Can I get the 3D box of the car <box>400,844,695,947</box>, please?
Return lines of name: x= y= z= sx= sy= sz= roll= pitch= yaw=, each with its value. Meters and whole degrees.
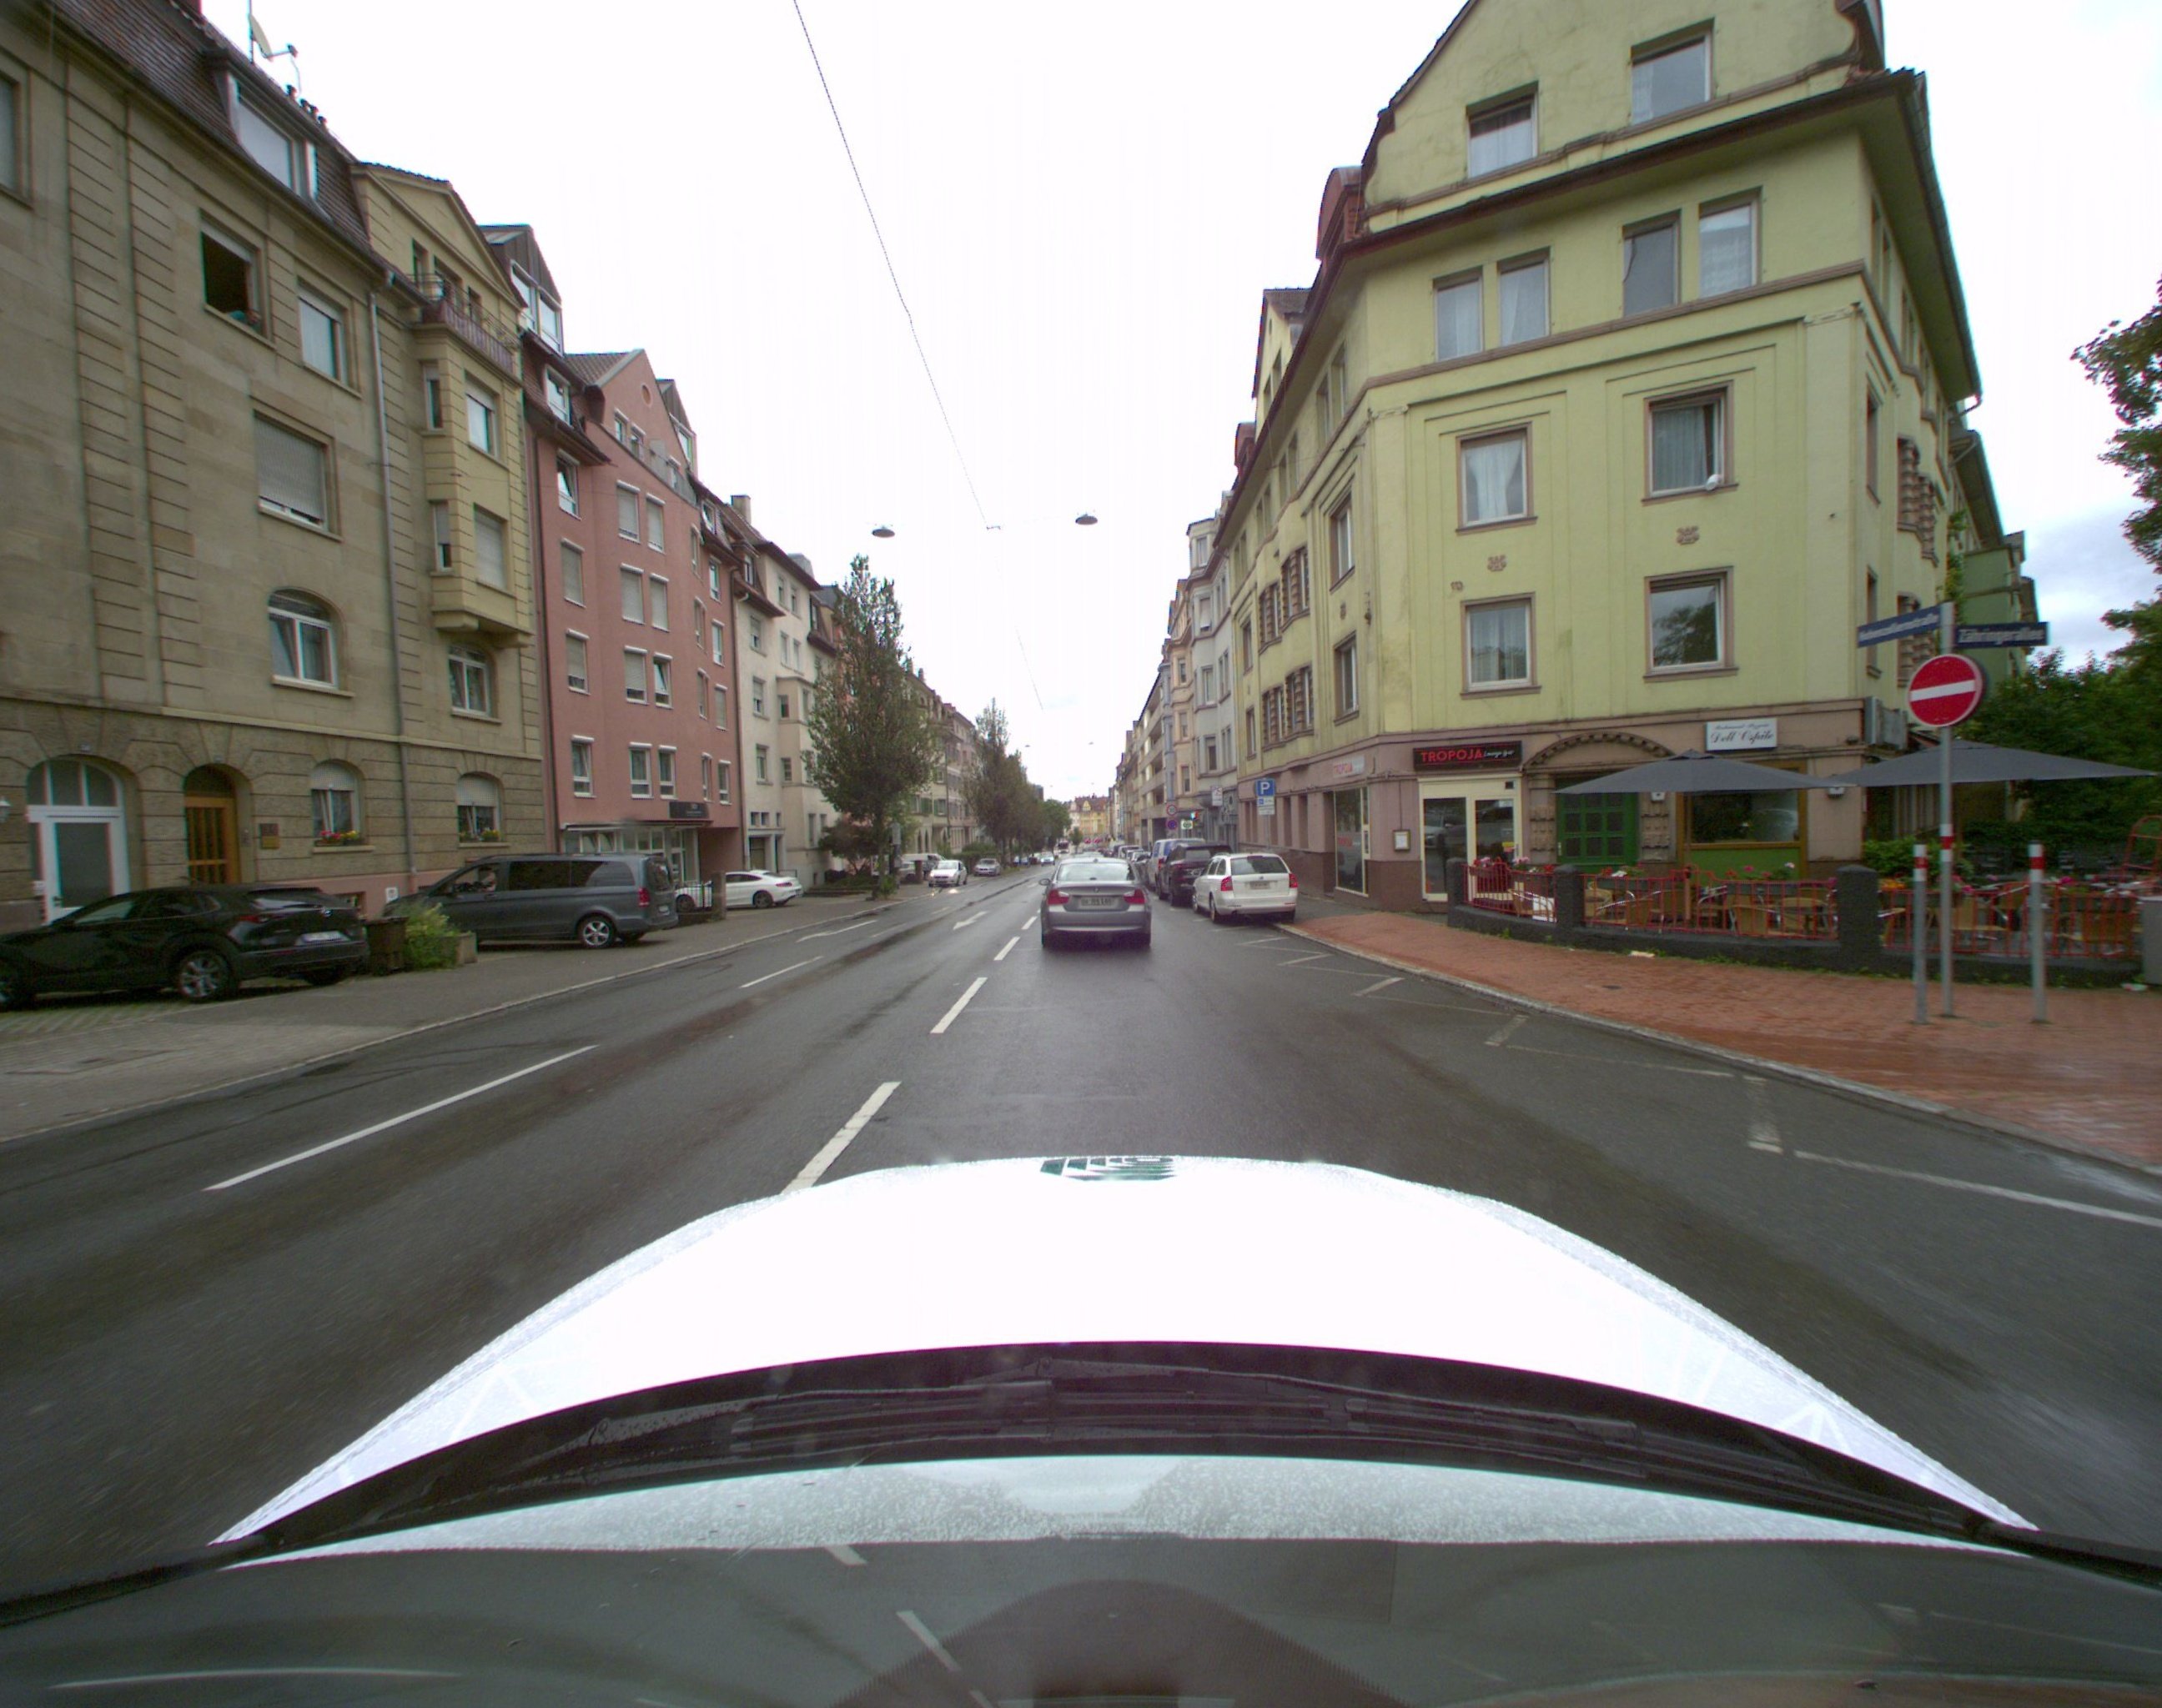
car: x=-10.718 y=0.781 z=16.711 sx=4.673 sy=1.938 sz=1.857 roll=0 pitch=0 yaw=-10

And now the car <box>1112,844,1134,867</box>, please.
car: x=4.246 y=0.122 z=82.829 sx=1.975 sy=2.166 sz=4.750 roll=-3 pitch=0 yaw=1

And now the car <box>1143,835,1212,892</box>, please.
car: x=3.425 y=0.318 z=29.796 sx=1.913 sy=1.827 sz=5.009 roll=-3 pitch=0 yaw=1

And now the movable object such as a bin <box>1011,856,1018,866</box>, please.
movable object such as a bin: x=-6.760 y=0.708 z=82.445 sx=0.575 sy=0.912 sz=0.637 roll=-3 pitch=0 yaw=-14

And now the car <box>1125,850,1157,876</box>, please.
car: x=3.509 y=0.508 z=48.126 sx=1.606 sy=1.474 sz=4.016 roll=-1 pitch=0 yaw=1

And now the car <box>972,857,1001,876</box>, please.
car: x=-7.621 y=1.027 z=66.114 sx=1.720 sy=1.484 sz=3.990 roll=0 pitch=-1 yaw=2

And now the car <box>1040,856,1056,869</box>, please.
car: x=-4.174 y=1.072 z=102.832 sx=1.630 sy=1.508 sz=3.755 roll=-5 pitch=0 yaw=1

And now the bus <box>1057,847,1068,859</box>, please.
bus: x=-5.133 y=-0.271 z=224.038 sx=2.659 sy=3.024 sz=7.671 roll=-3 pitch=0 yaw=1

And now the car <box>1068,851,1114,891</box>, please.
car: x=0.425 y=0.617 z=31.436 sx=1.675 sy=1.428 sz=3.742 roll=0 pitch=0 yaw=2

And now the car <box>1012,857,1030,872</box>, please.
car: x=-6.939 y=1.155 z=94.649 sx=1.761 sy=1.593 sz=3.999 roll=-4 pitch=0 yaw=-1

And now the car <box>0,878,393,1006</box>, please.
car: x=-12.481 y=1.160 z=11.357 sx=4.133 sy=1.510 sz=1.873 roll=-1 pitch=0 yaw=0

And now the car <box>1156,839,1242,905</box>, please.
car: x=3.331 y=0.472 z=23.769 sx=1.872 sy=1.731 sz=4.677 roll=0 pitch=0 yaw=1

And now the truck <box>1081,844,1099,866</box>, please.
truck: x=0.981 y=0.159 z=91.427 sx=2.025 sy=2.412 sz=4.826 roll=0 pitch=-1 yaw=0

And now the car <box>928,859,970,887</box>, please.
car: x=-7.500 y=1.036 z=46.599 sx=1.615 sy=1.445 sz=4.006 roll=-2 pitch=0 yaw=2

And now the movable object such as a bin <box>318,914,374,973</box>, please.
movable object such as a bin: x=-11.846 y=1.435 z=13.140 sx=0.502 sy=0.904 sz=0.441 roll=0 pitch=0 yaw=6

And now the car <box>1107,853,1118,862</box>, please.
car: x=5.033 y=0.605 z=131.286 sx=1.692 sy=1.483 sz=3.974 roll=0 pitch=0 yaw=0

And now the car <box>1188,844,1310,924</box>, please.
car: x=3.633 y=0.595 z=18.400 sx=1.793 sy=1.565 sz=4.491 roll=0 pitch=0 yaw=0

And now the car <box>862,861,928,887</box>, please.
car: x=-12.007 y=1.288 z=52.800 sx=3.878 sy=1.457 sz=1.788 roll=-3 pitch=0 yaw=-7

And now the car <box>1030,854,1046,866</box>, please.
car: x=-6.108 y=0.894 z=116.306 sx=1.821 sy=1.523 sz=3.738 roll=-4 pitch=0 yaw=2

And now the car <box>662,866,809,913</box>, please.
car: x=-12.590 y=1.271 z=29.875 sx=4.533 sy=1.401 sz=1.767 roll=-3 pitch=0 yaw=0

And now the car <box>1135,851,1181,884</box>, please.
car: x=3.389 y=0.566 z=36.327 sx=1.672 sy=1.375 sz=4.276 roll=-1 pitch=0 yaw=1

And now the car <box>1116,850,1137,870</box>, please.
car: x=4.205 y=0.545 z=75.763 sx=1.720 sy=1.670 sz=4.288 roll=-3 pitch=0 yaw=1

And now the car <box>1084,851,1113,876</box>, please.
car: x=1.065 y=0.590 z=50.563 sx=1.692 sy=1.483 sz=3.793 roll=0 pitch=0 yaw=0

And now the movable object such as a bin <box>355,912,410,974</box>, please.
movable object such as a bin: x=-11.296 y=1.430 z=13.174 sx=0.502 sy=0.950 sz=0.441 roll=0 pitch=0 yaw=6

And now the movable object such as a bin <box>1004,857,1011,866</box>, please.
movable object such as a bin: x=-7.431 y=0.743 z=82.315 sx=0.575 sy=0.912 sz=0.637 roll=-3 pitch=0 yaw=-14

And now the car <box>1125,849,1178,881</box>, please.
car: x=3.492 y=0.535 z=41.269 sx=1.872 sy=1.467 sz=4.765 roll=-1 pitch=0 yaw=-6

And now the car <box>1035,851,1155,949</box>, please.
car: x=0.245 y=0.668 z=13.881 sx=1.763 sy=1.428 sz=3.741 roll=0 pitch=0 yaw=1

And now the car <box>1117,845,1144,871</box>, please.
car: x=4.118 y=0.353 z=68.159 sx=1.975 sy=2.007 sz=4.625 roll=-3 pitch=0 yaw=1

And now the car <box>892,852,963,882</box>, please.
car: x=-11.438 y=0.937 z=61.068 sx=4.813 sy=1.974 sz=2.048 roll=-3 pitch=0 yaw=0

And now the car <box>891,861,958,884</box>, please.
car: x=-11.284 y=1.336 z=58.854 sx=4.420 sy=1.451 sz=1.791 roll=-3 pitch=0 yaw=-2

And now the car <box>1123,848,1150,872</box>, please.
car: x=4.128 y=0.449 z=61.364 sx=1.720 sy=1.670 sz=4.288 roll=-4 pitch=0 yaw=1

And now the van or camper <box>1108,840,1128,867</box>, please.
van or camper: x=4.235 y=-0.071 z=93.324 sx=2.024 sy=2.868 sz=6.893 roll=1 pitch=0 yaw=4
